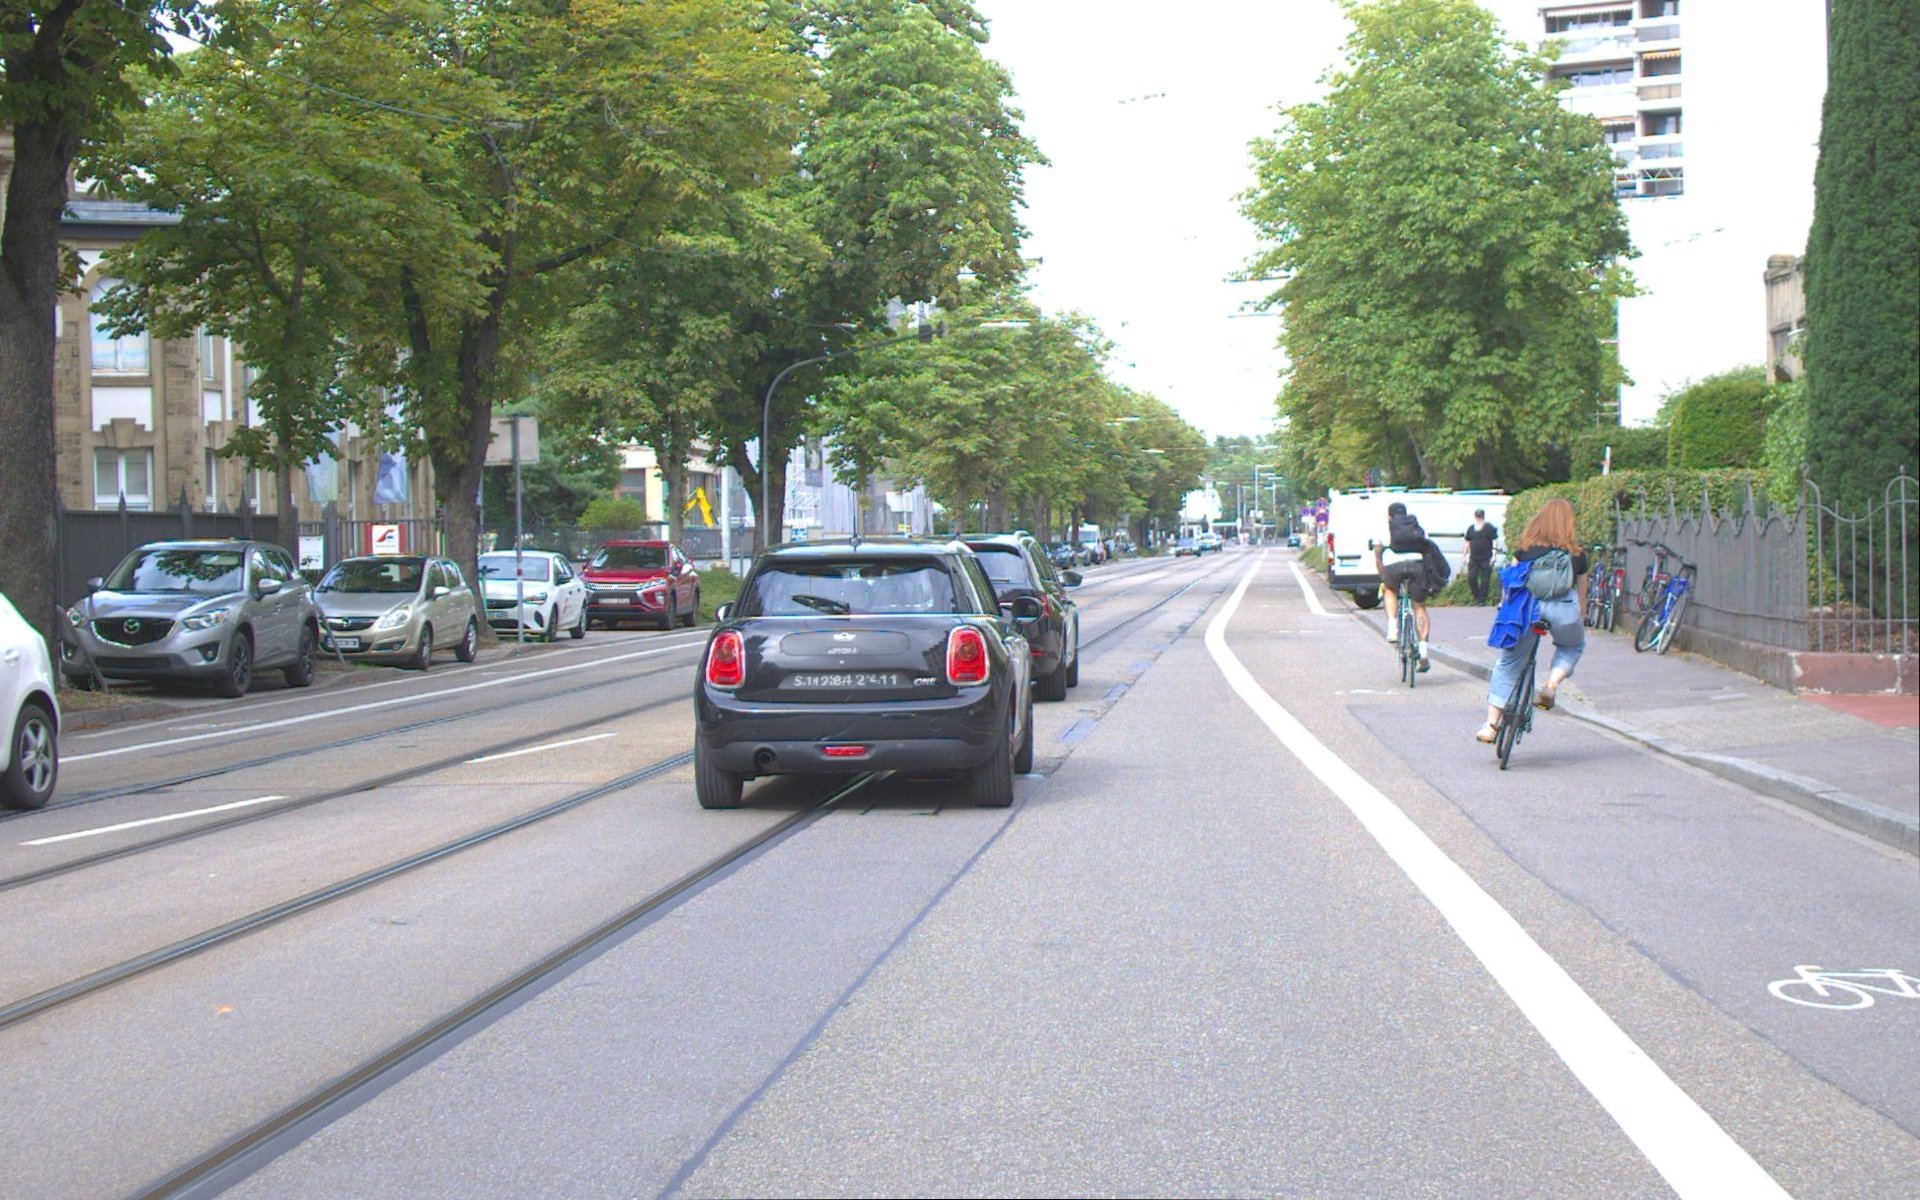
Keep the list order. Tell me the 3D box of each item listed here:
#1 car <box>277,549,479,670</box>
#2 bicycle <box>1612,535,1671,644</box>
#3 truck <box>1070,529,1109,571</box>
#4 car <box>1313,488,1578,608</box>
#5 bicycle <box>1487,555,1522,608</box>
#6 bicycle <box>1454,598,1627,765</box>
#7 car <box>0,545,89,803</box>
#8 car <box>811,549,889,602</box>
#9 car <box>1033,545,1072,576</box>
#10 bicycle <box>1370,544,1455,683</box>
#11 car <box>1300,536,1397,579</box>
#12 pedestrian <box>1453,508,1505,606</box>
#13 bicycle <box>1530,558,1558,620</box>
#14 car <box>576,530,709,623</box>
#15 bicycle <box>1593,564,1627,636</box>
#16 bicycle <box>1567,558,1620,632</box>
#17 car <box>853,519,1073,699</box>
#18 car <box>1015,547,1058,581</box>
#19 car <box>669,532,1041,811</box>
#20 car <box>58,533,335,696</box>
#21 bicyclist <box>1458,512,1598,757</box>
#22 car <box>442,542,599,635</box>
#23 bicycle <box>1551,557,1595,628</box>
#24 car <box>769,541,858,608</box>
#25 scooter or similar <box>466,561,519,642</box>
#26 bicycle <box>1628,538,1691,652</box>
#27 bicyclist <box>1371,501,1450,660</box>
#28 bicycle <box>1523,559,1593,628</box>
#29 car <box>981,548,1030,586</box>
[{"bbox_3d":[-7.496,0.088,44.604,1.601,1.463,4.078,0,1,5],"label":"car"},{"bbox_3d":[7.357,-0.129,37.172,0.391,1.138,1.920,-2,1,5],"label":"bicycle"},{"bbox_3d":[8.016,-3.074,212.488,2.071,2.462,4.898,-2,1,5],"label":"truck"},{"bbox_3d":[9.609,-1.023,67.873,4.944,2.282,2.384,-1,1,-37],"label":"car"},{"bbox_3d":[9.418,-0.320,59.490,0.386,0.904,1.842,-2,0,4],"label":"bicycle"},{"bbox_3d":[3.700,0.496,21.794,0.689,0.959,2.034,-1,1,21],"label":"bicycle"},{"bbox_3d":[-6.200,0.467,18.190,1.571,1.411,3.999,-3,1,9],"label":"car"},{"bbox_3d":[-2.995,-0.685,94.038,1.693,1.422,3.868,0,1,5],"label":"car"},{"bbox_3d":[4.827,-2.063,179.110,1.803,1.578,4.030,-2,1,5],"label":"car"},{"bbox_3d":[4.201,0.103,32.029,0.657,1.244,2.124,0,1,4],"label":"bicycle"},{"bbox_3d":[14.632,-1.603,129.483,3.436,1.567,1.560,-1,1,-33],"label":"car"},{"bbox_3d":[9.435,-0.780,62.501,0.785,1.727,0.896,-3,1,5],"label":"pedestrian"},{"bbox_3d":[8.708,-0.169,51.264,0.386,0.904,1.664,-2,0,10],"label":"bicycle"},{"bbox_3d":[-5.892,-0.459,64.288,1.721,1.649,4.542,1,1,4],"label":"car"},{"bbox_3d":[7.817,-0.006,41.365,0.278,0.849,1.198,-2,0,6],"label":"bicycle"},{"bbox_3d":[7.946,-0.065,43.173,0.486,0.904,1.665,-2,0,6],"label":"bicycle"},{"bbox_3d":[0.090,0.047,30.534,1.793,1.465,4.000,1,1,2],"label":"car"},{"bbox_3d":[3.767,-1.763,169.053,1.803,1.578,4.030,-2,1,5],"label":"car"},{"bbox_3d":[-0.491,0.334,19.558,1.793,1.418,4.000,0,1,3],"label":"car"},{"bbox_3d":[-8.257,0.107,37.559,1.710,1.668,4.356,0,1,5],"label":"car"},{"bbox_3d":[3.554,0.207,21.472,0.648,1.465,0.800,-3,1,20],"label":"bicyclist"},{"bbox_3d":[-7.073,-0.208,55.636,1.721,1.419,4.023,1,1,4],"label":"car"},{"bbox_3d":[8.012,-0.100,44.959,0.486,0.904,1.664,-2,0,8],"label":"bicycle"},{"bbox_3d":[-3.662,-0.665,86.761,1.756,1.641,4.052,0,1,5],"label":"car"},{"bbox_3d":[-7.177,0.009,52.768,0.561,1.218,1.324,-1,1,-18],"label":"scooter or similar"},{"bbox_3d":[7.008,-0.061,34.480,0.391,1.099,1.759,-2,1,5],"label":"bicycle"},{"bbox_3d":[4.197,-0.192,32.072,0.657,1.458,1.178,0,1,4],"label":"bicyclist"},{"bbox_3d":[8.145,-0.089,46.868,0.485,0.904,1.665,-2,0,-6],"label":"bicycle"},{"bbox_3d":[1.987,-1.439,149.534,1.803,1.578,4.030,-2,1,5],"label":"car"}]
